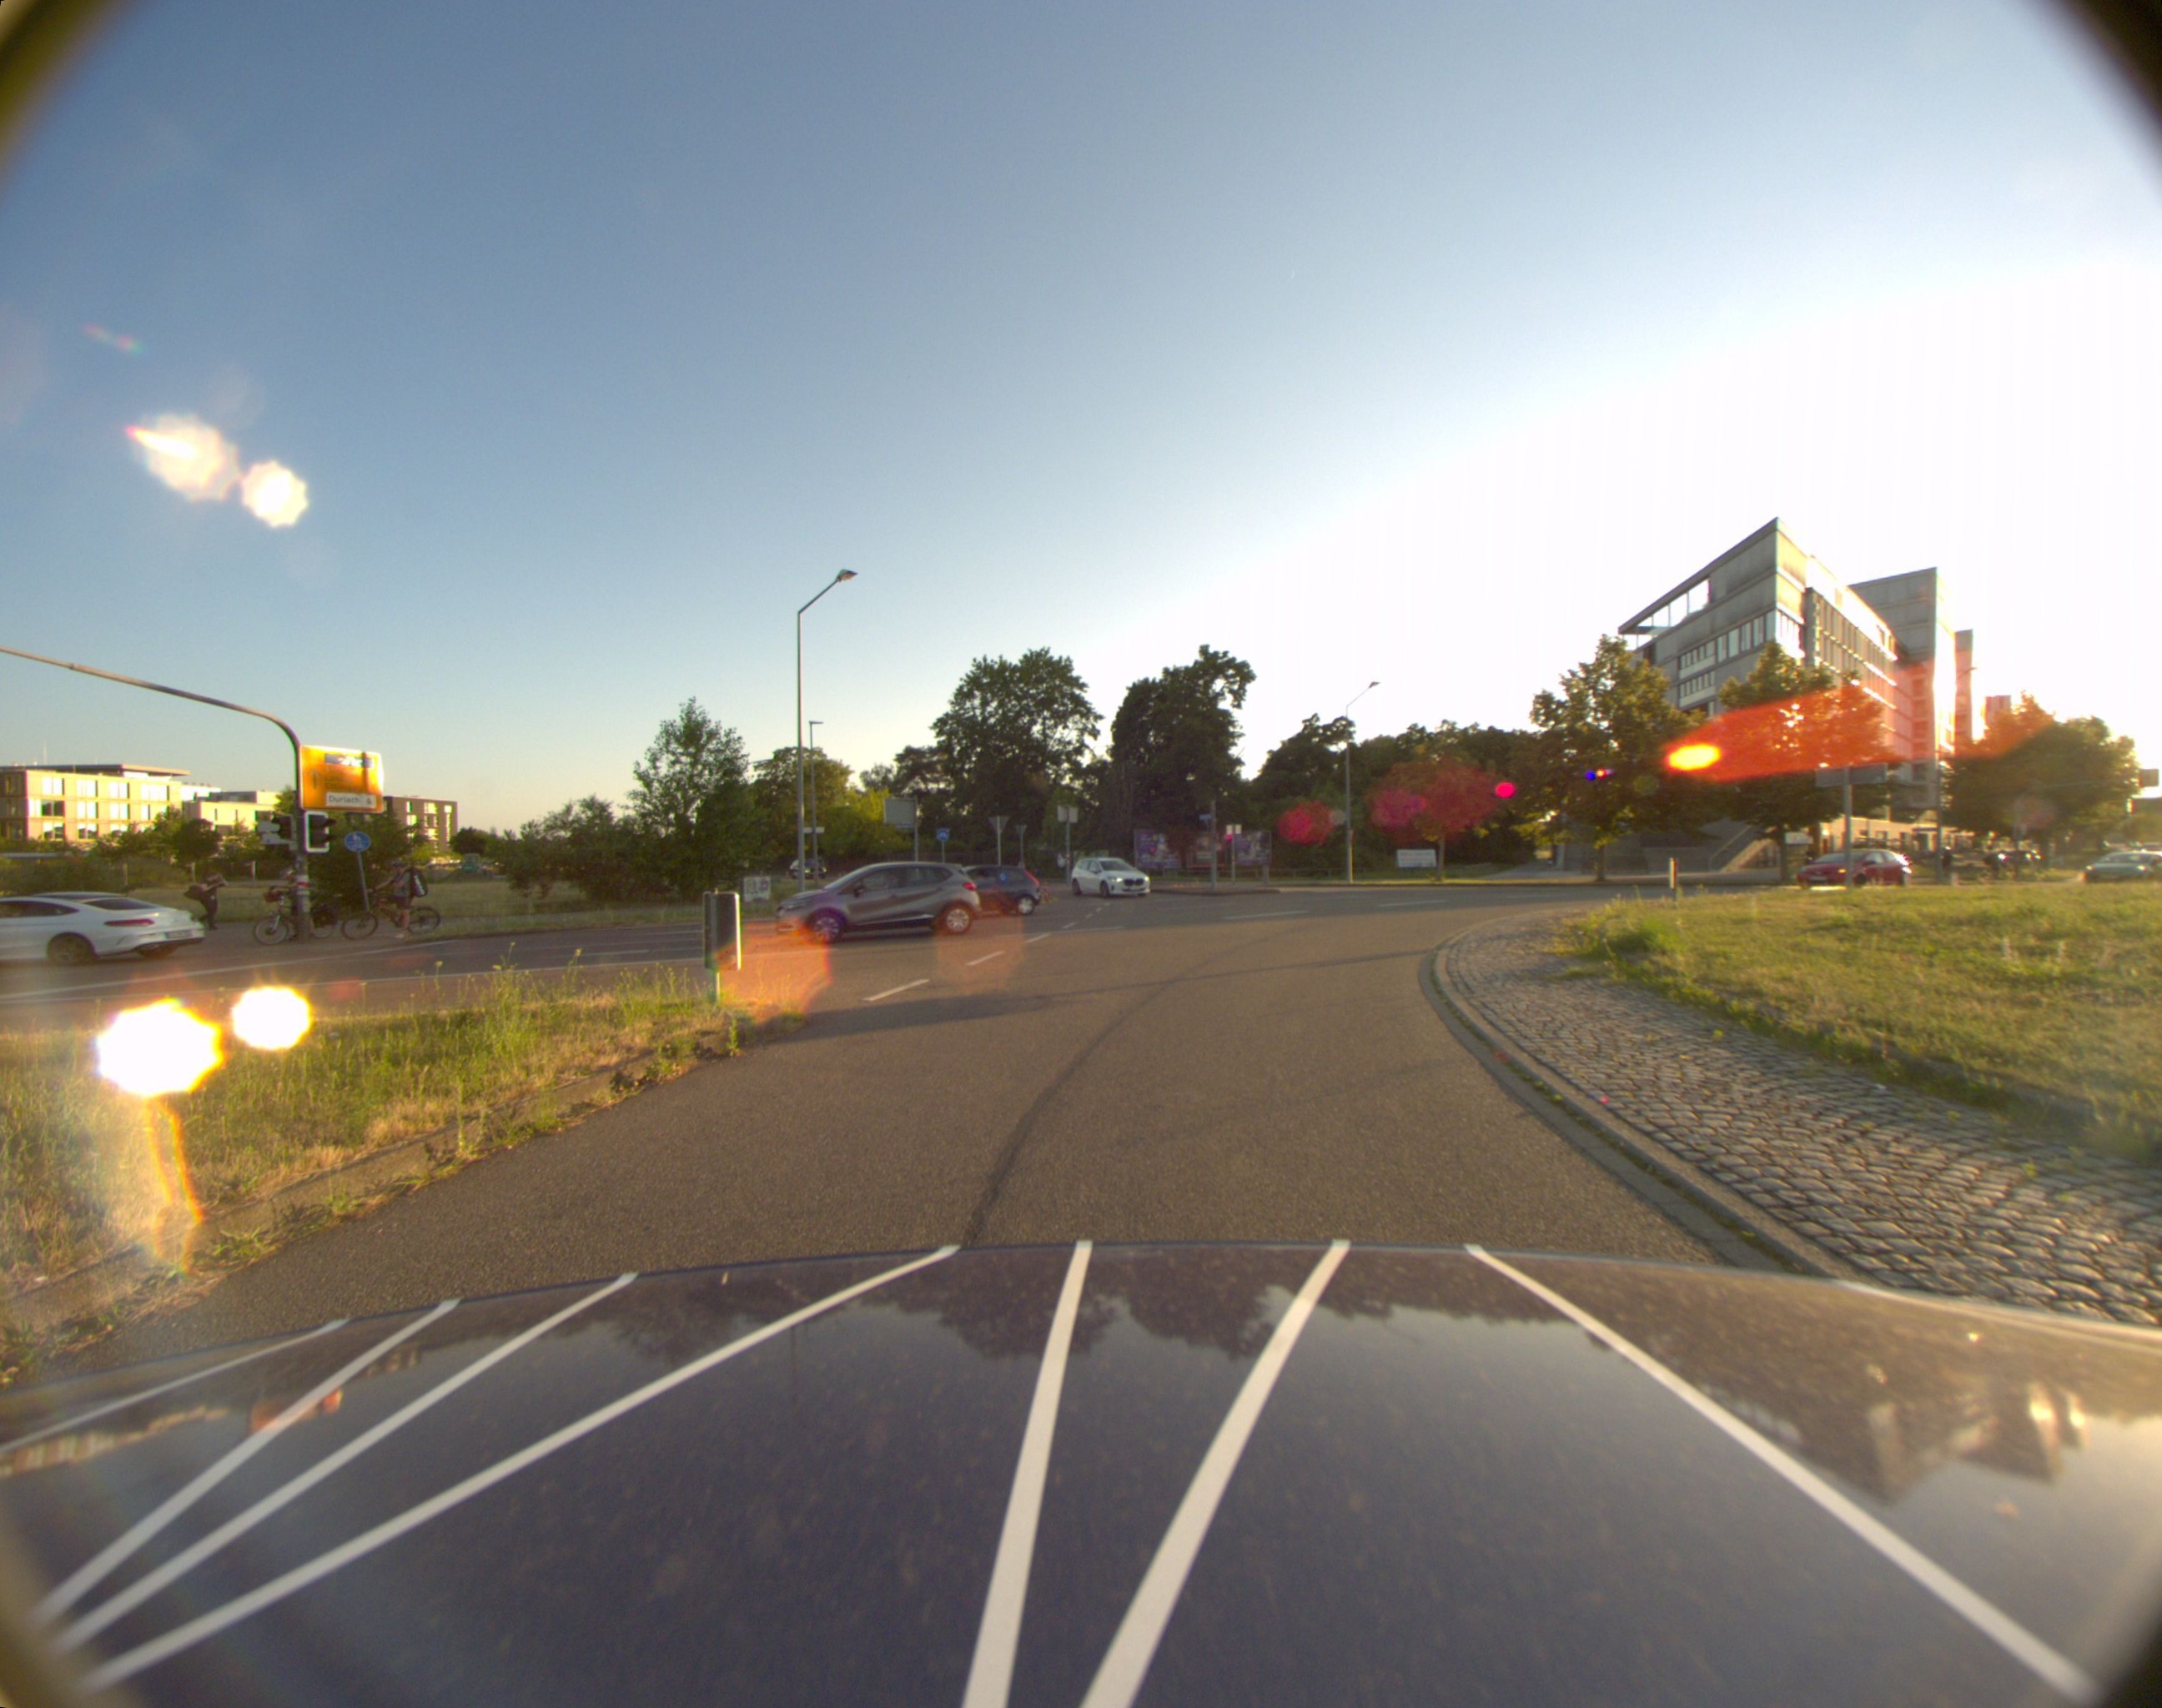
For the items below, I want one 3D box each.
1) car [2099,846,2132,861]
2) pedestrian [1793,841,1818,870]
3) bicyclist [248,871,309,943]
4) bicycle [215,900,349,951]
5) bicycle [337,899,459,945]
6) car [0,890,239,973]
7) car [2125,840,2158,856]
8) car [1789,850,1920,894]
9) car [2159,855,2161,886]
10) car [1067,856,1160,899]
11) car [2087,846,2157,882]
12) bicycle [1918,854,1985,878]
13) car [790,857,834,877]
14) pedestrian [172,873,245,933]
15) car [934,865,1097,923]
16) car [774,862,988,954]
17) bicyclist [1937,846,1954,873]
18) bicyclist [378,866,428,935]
[{"bbox_3d":[97.322,-0.039,71.495,4.133,1.371,1.746,-1,1,-35],"label":"car"},{"bbox_3d":[51.497,0.080,53.986,0.776,2.002,0.998,-2,1,-11],"label":"pedestrian"},{"bbox_3d":[-19.327,1.257,18.312,0.724,1.680,0.690,-1,1,12],"label":"bicyclist"},{"bbox_3d":[-19.269,1.698,18.399,0.708,0.958,2.109,-1,2,14],"label":"bicycle"},{"bbox_3d":[-17.158,1.679,19.160,0.708,0.957,2.149,-1,0,26],"label":"bicycle"},{"bbox_3d":[-20.566,1.541,15.283,4.526,1.400,1.998,-1,0,-11],"label":"car"},{"bbox_3d":[129.835,-0.718,93.019,5.317,1.801,1.995,0,-2,-39],"label":"car"},{"bbox_3d":[27.570,0.603,27.080,4.003,1.412,1.687,-1,0,-18],"label":"car"},{"bbox_3d":[56.577,0.776,38.044,4.333,1.568,1.731,-1,0,-17],"label":"car"},{"bbox_3d":[1.232,0.887,31.017,2.003,1.597,4.189,-1,0,-27],"label":"car"},{"bbox_3d":[44.296,0.389,32.320,4.007,1.412,1.685,-1,0,-35],"label":"car"},{"bbox_3d":[47.089,0.627,41.128,0.744,1.237,2.341,-2,1,-41],"label":"bicycle"},{"bbox_3d":[-22.553,1.098,63.549,2.004,1.588,4.302,-1,1,-41],"label":"car"},{"bbox_3d":[-24.314,1.335,21.200,0.993,1.581,0.925,-1,1,-24],"label":"pedestrian"},{"bbox_3d":[-1.872,1.073,21.874,4.204,1.419,1.996,-1,0,-27],"label":"car"},{"bbox_3d":[-4.189,1.016,15.896,4.005,1.619,1.996,-1,0,-25],"label":"car"},{"bbox_3d":[46.976,0.308,41.269,0.693,1.432,0.610,-2,1,-41],"label":"bicyclist"},{"bbox_3d":[-17.142,1.165,19.220,0.723,1.680,0.690,-1,1,28],"label":"bicyclist"}]
